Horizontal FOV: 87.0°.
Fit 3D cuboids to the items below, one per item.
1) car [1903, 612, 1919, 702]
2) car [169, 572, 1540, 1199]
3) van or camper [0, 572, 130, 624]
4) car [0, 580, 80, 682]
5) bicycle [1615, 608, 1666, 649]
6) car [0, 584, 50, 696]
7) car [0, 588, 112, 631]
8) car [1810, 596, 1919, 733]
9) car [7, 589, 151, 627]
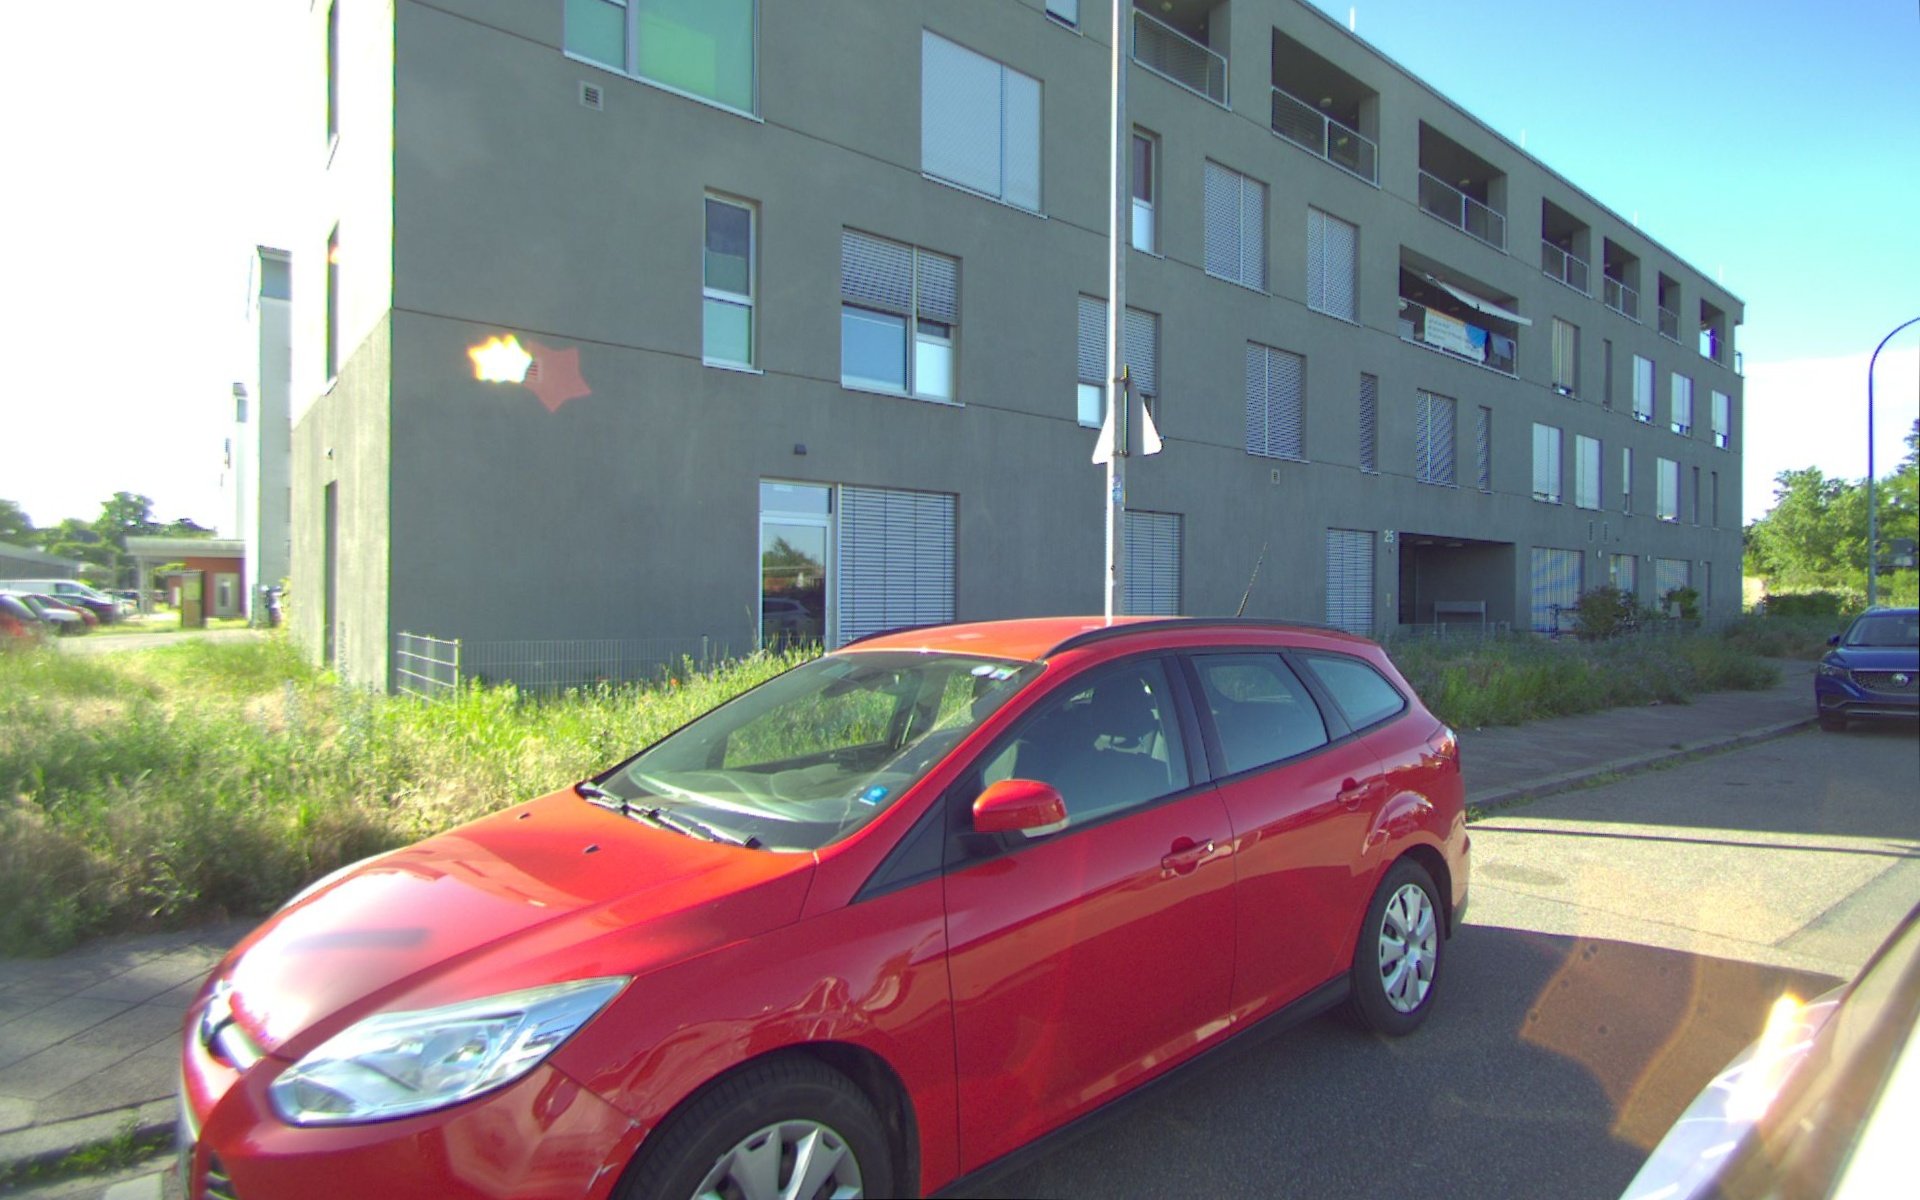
[{"bbox_3d":[17.634,0.913,17.138,4.502,1.448,1.749,0,-1,-38],"label":"car"},{"bbox_3d":[0.108,0.730,3.444,4.372,1.519,1.822,0,0,-40],"label":"car"},{"bbox_3d":[-36.670,-0.092,40.477,5.196,1.982,1.999,0,0,-36],"label":"van or camper"},{"bbox_3d":[-16.080,0.453,15.415,3.927,1.539,1.697,0,1,-38],"label":"car"},{"bbox_3d":[18.863,0.775,28.047,1.807,1.075,0.554,0,-1,-35],"label":"bicycle"},{"bbox_3d":[-14.762,0.528,13.376,3.927,1.488,1.697,0,1,-38],"label":"car"},{"bbox_3d":[-31.350,0.296,33.813,4.518,1.366,1.998,0,0,-39],"label":"car"},{"bbox_3d":[13.030,0.769,13.474,4.545,1.620,1.820,0,-2,-40],"label":"car"},{"bbox_3d":[-33.438,0.288,38.566,4.013,1.366,1.761,0,0,-39],"label":"car"}]
